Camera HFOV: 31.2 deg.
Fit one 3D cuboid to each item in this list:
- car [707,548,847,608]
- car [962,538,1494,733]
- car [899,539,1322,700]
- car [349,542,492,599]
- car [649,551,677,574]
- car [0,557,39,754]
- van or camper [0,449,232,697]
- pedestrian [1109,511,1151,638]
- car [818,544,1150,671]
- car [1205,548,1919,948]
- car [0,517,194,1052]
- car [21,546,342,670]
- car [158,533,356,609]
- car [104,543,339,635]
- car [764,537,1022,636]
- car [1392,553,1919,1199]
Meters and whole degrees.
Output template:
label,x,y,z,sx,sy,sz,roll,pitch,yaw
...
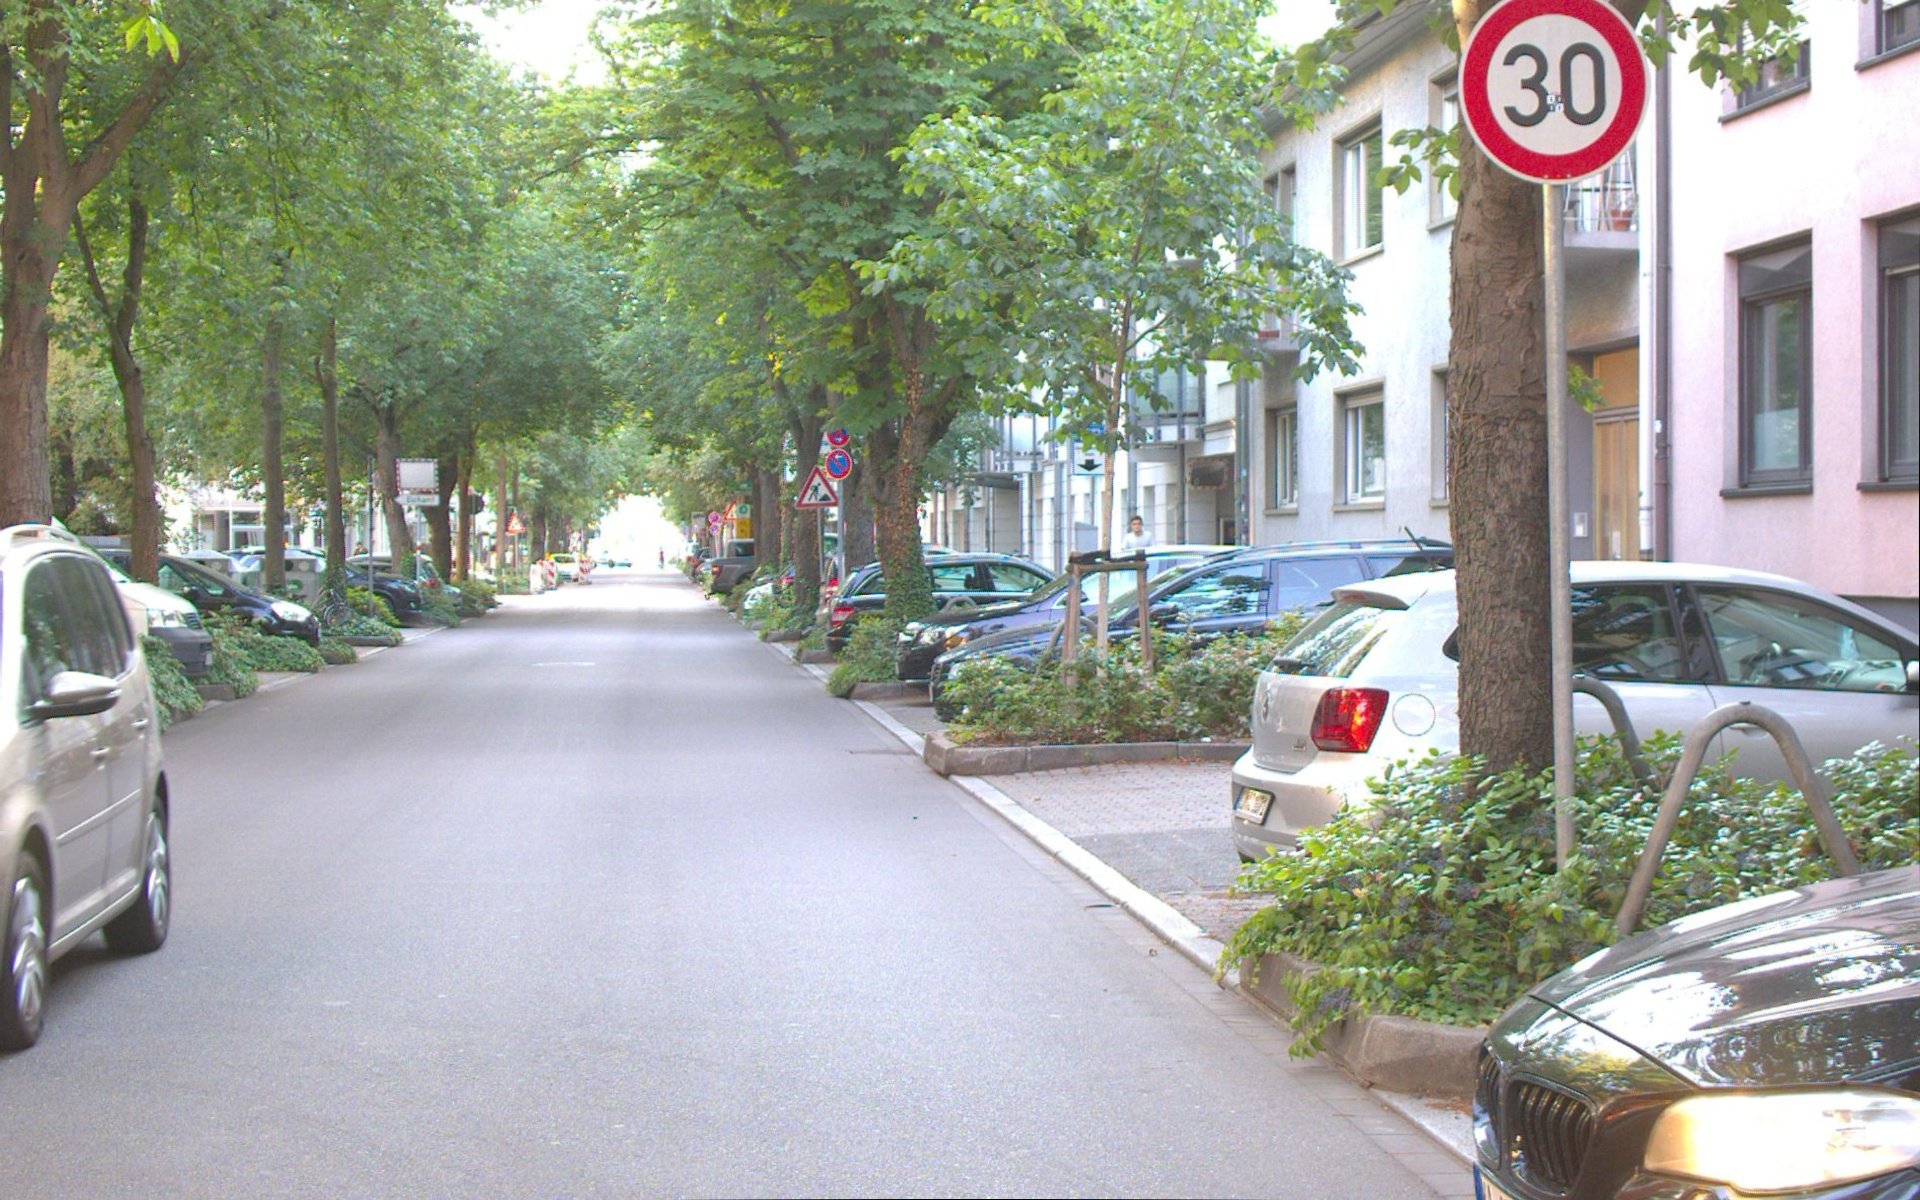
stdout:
label,x,y,z,sx,sy,sz,roll,pitch,yaw
car,-5.262,-0.633,98.883,3.967,1.678,1.785,0,1,-4
car,2.092,0.253,27.519,3.967,1.471,1.785,0,1,-6
car,1.448,0.168,34.025,3.967,1.522,1.785,0,1,-5
car,-15.733,-0.871,100.318,3.967,1.614,1.785,0,1,-4
car,-20.355,-2.589,235.793,1.822,1.525,4.001,1,1,-4
car,-9.420,0.437,26.944,3.967,1.512,1.785,0,1,-4
van or camper,-9.968,-0.279,35.270,4.663,2.470,2.000,0,1,-5
pedestrian,2.707,-0.412,54.678,0.589,2.007,0.669,0,1,-4
car,0.264,0.076,42.875,3.967,1.522,1.785,0,1,-5
car,3.075,0.536,13.891,3.908,1.471,1.665,0,1,-6
car,-3.804,0.511,11.606,1.779,1.557,4.169,0,1,-4
car,-10.432,0.091,46.286,3.967,1.614,1.785,0,1,-4
car,-15.205,-0.639,74.500,3.967,1.614,1.785,0,1,-4
car,-13.470,-0.216,62.851,3.967,1.614,1.785,0,1,-4
car,-1.092,-0.228,54.786,3.967,1.522,1.785,0,1,-6
car,3.260,0.656,5.820,4.744,1.475,1.800,0,1,-5
